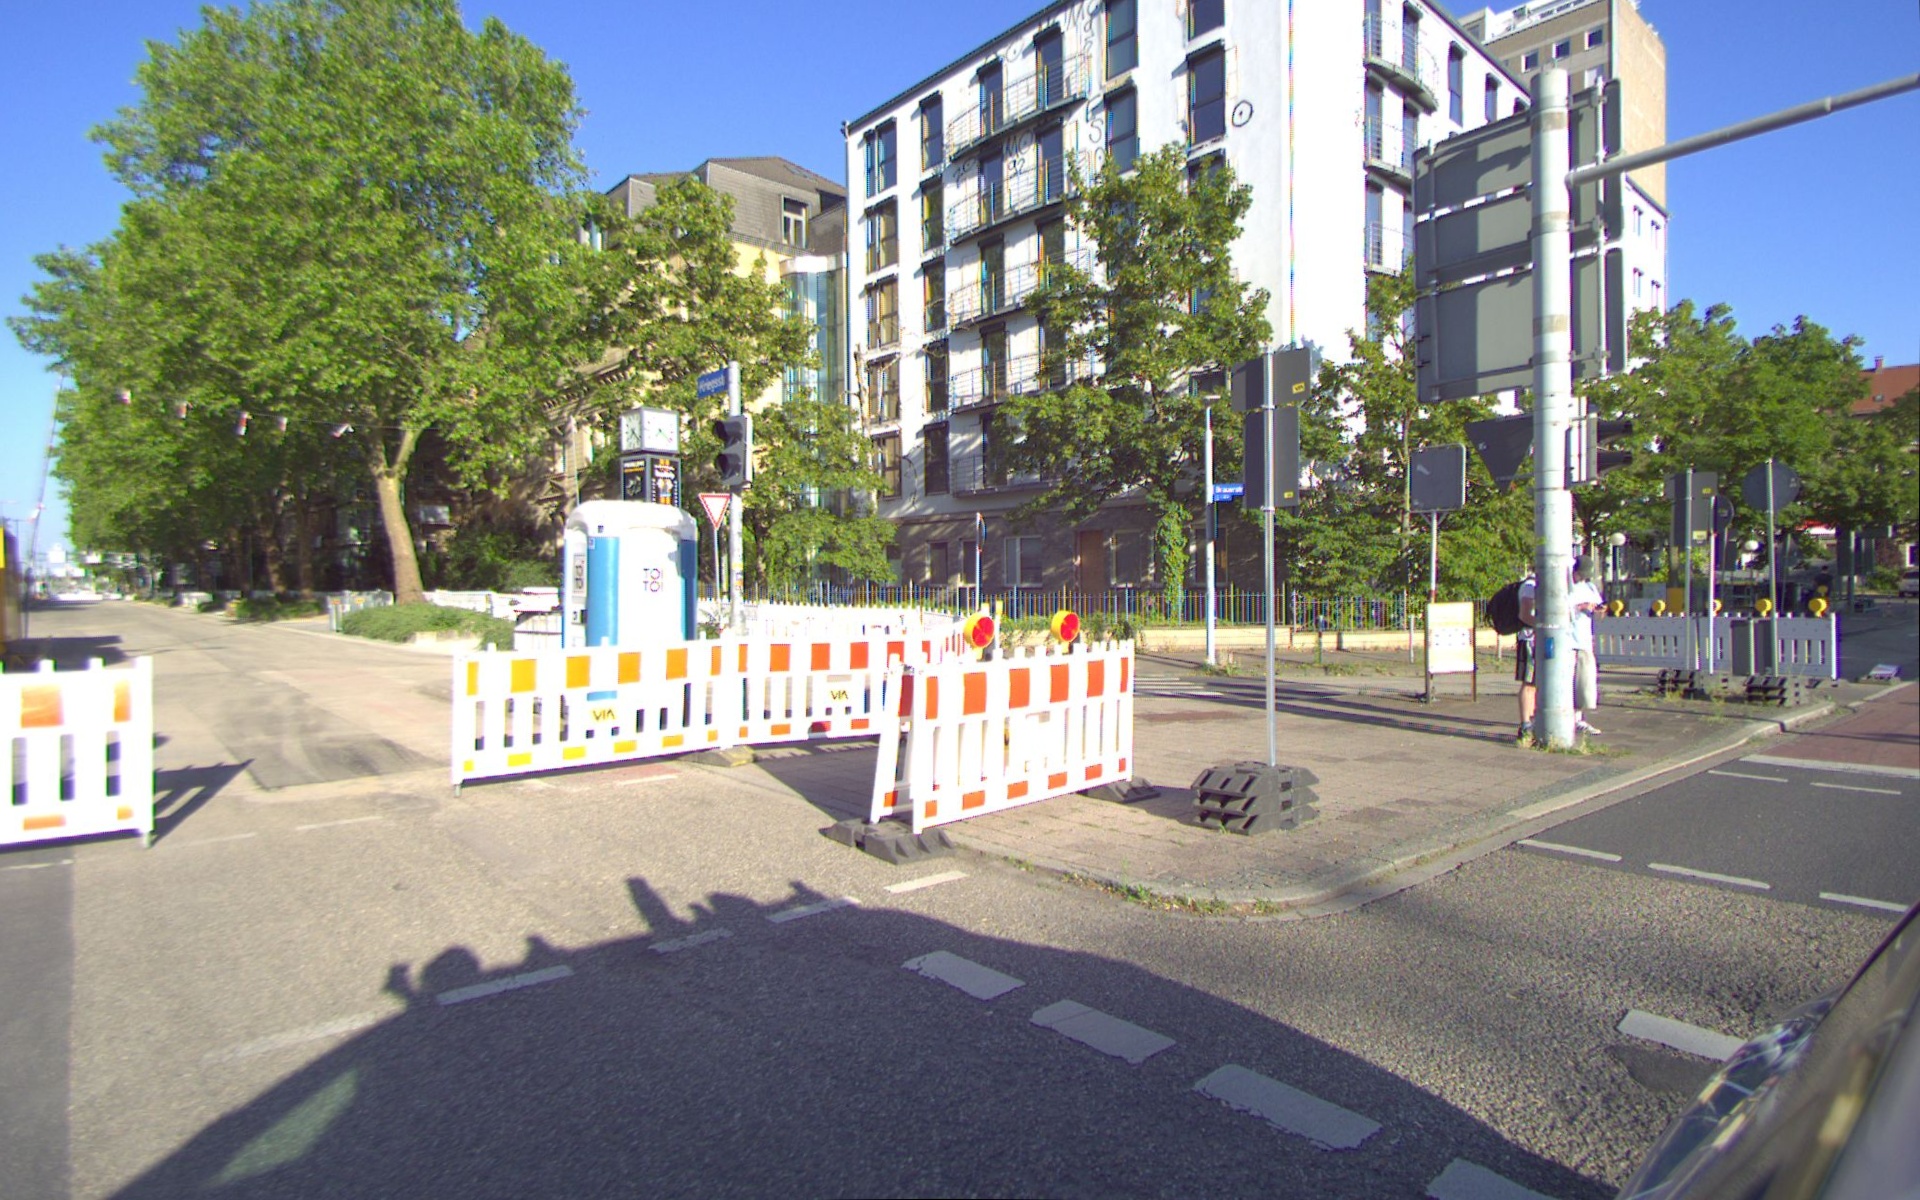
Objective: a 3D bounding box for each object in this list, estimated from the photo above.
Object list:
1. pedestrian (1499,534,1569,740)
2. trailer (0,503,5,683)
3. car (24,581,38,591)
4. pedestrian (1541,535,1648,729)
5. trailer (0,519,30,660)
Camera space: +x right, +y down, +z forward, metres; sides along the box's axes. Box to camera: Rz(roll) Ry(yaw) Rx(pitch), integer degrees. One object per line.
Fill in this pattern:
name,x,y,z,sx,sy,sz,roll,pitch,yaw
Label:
pedestrian,5.504,0.337,9.725,0.493,1.900,0.598,-1,1,23
trailer,-18.486,-0.095,17.731,2.500,2.903,6.115,-2,2,-43
car,-158.204,-2.351,172.387,1.741,1.727,3.992,-2,2,-42
pedestrian,6.413,0.308,10.252,0.695,1.900,0.578,-1,1,-5
trailer,-23.640,-0.221,23.709,2.365,3.053,6.122,-2,1,-40
